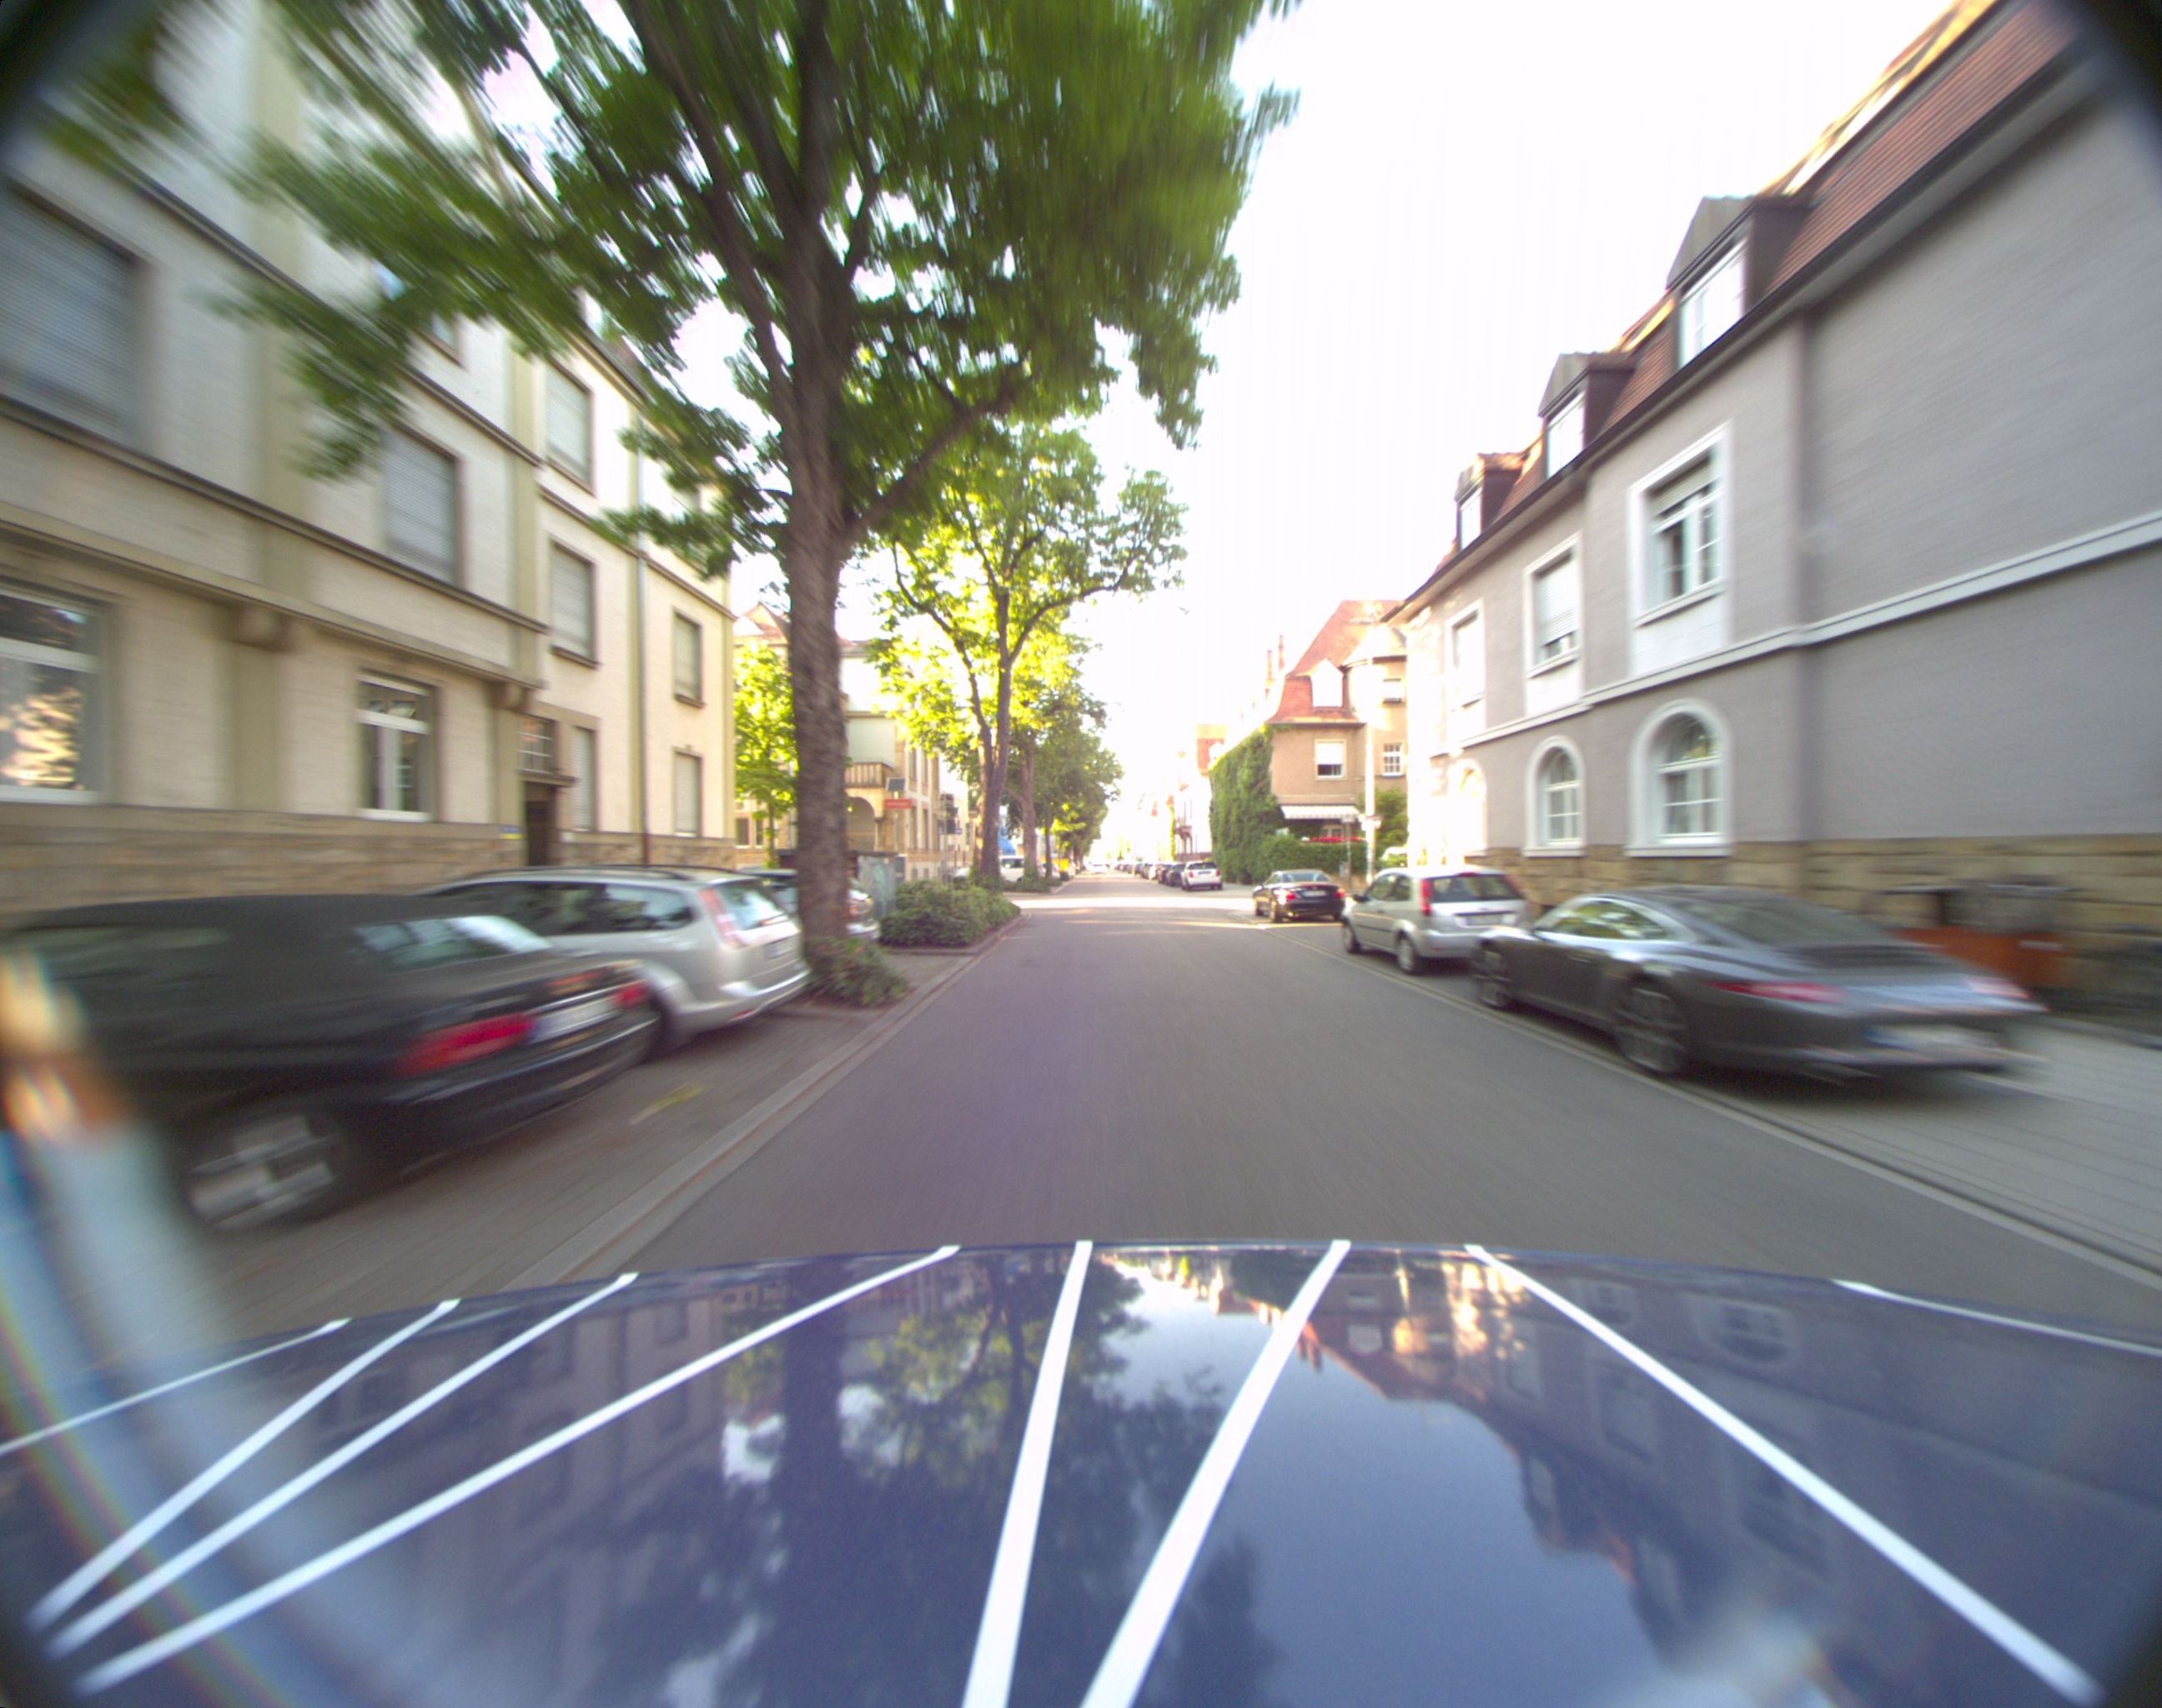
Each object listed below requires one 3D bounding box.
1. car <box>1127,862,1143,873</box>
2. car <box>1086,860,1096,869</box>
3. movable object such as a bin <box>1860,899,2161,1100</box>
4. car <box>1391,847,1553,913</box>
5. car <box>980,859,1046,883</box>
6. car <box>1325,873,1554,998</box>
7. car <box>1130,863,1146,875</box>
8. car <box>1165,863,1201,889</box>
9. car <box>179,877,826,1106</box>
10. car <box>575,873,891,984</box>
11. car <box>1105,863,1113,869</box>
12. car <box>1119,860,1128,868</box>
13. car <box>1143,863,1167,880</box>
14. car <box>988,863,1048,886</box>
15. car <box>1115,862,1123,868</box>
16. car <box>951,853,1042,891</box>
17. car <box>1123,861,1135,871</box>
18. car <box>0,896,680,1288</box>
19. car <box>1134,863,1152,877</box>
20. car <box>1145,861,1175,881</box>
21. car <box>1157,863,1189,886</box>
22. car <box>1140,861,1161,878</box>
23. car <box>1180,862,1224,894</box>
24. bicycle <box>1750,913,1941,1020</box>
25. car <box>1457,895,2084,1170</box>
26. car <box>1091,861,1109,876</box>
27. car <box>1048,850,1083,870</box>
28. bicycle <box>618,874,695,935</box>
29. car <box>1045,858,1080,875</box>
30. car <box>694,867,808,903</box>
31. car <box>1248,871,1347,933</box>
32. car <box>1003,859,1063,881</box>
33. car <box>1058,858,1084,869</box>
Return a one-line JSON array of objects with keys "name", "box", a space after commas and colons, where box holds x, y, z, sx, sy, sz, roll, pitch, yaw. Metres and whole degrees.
[{"name": "car", "box": [7.164, 1.772, 100.895, 1.713, 1.461, 4.633, -2, 0, -1]}, {"name": "car", "box": [2.115, 2.227, 159.434, 1.998, 1.873, 4.000, -1, 0, 0]}, {"name": "movable object such as a bin", "box": [7.897, 1.074, 6.314, 0.723, 1.276, 2.096, -1, 0, 1]}, {"name": "car", "box": [13.008, 0.824, 25.489, 4.412, 2.003, 1.999, -1, 2, -1]}, {"name": "car", "box": [-4.608, 1.157, 52.105, 4.325, 1.525, 1.828, 1, 0, 1]}, {"name": "car", "box": [5.111, 1.073, 11.473, 1.657, 1.437, 3.960, -2, 0, 2]}, {"name": "car", "box": [7.131, 1.839, 95.610, 1.657, 1.407, 4.168, -2, 0, 0]}, {"name": "car", "box": [5.946, 1.264, 44.648, 1.690, 1.371, 3.721, -2, 0, 1]}, {"name": "car", "box": [-4.545, 1.043, 6.438, 4.157, 1.567, 1.712, -1, 0, 1]}, {"name": "car", "box": [-4.865, 1.018, 11.066, 3.804, 1.429, 1.748, 0, 0, -3]}, {"name": "car", "box": [6.675, 2.797, 180.337, 1.776, 1.440, 4.000, 0, -1, 1]}, {"name": "car", "box": [8.090, 1.849, 143.651, 1.654, 1.474, 3.430, -3, 0, 3]}, {"name": "car", "box": [6.563, 1.518, 67.393, 1.658, 1.438, 3.844, -2, 0, -1]}, {"name": "car", "box": [-4.110, 1.311, 49.732, 3.757, 1.454, 1.734, 1, 0, 1]}, {"name": "car", "box": [8.532, 2.519, 172.188, 1.723, 1.386, 3.908, -3, -1, 2]}, {"name": "car", "box": [-4.248, 0.898, 38.708, 4.325, 1.796, 2.000, 1, 0, 1]}, {"name": "car", "box": [7.456, 1.860, 119.255, 1.657, 1.445, 4.631, -2, 0, 1]}, {"name": "car", "box": [-4.469, 1.010, 3.919, 3.802, 1.429, 1.817, -1, 0, 1]}, {"name": "car", "box": [6.960, 1.828, 85.496, 1.657, 1.438, 4.005, -2, 0, 1]}, {"name": "car", "box": [6.348, 1.355, 61.300, 1.797, 1.453, 4.777, -2, 0, -1]}, {"name": "car", "box": [6.058, 1.314, 50.173, 1.653, 1.412, 4.099, -2, 0, 1]}, {"name": "car", "box": [6.529, 1.451, 71.481, 1.657, 1.477, 3.765, -2, 0, 1]}, {"name": "car", "box": [5.947, 1.150, 37.734, 1.708, 1.452, 3.918, -2, 0, 3]}, {"name": "bicycle", "box": [8.285, 1.179, 8.345, 0.394, 0.931, 1.722, -1, 0, 1]}, {"name": "car", "box": [4.829, 1.110, 6.304, 1.534, 1.311, 4.228, -2, -1, 4]}, {"name": "car", "box": [2.393, 1.760, 92.863, 2.098, 1.700, 4.607, -1, 0, 2]}, {"name": "car", "box": [-2.333, 0.860, 112.153, 5.108, 2.885, 2.076, 0, 0, -1]}, {"name": "bicycle", "box": [-9.160, 1.063, 16.483, 0.586, 1.204, 1.957, -1, 0, -1]}, {"name": "car", "box": [-2.438, 1.622, 99.184, 4.481, 2.002, 1.896, -1, 0, -1]}, {"name": "car", "box": [-14.115, 1.320, 32.633, 4.167, 1.467, 1.656, -1, -2, 0]}, {"name": "car", "box": [5.607, 1.194, 20.143, 1.657, 1.316, 4.046, -2, 0, 3]}, {"name": "car", "box": [-3.438, 1.148, 54.755, 4.153, 1.525, 1.687, 1, 0, 3]}, {"name": "car", "box": [-1.724, 1.637, 131.306, 4.312, 1.874, 1.758, 0, 1, -2]}]
